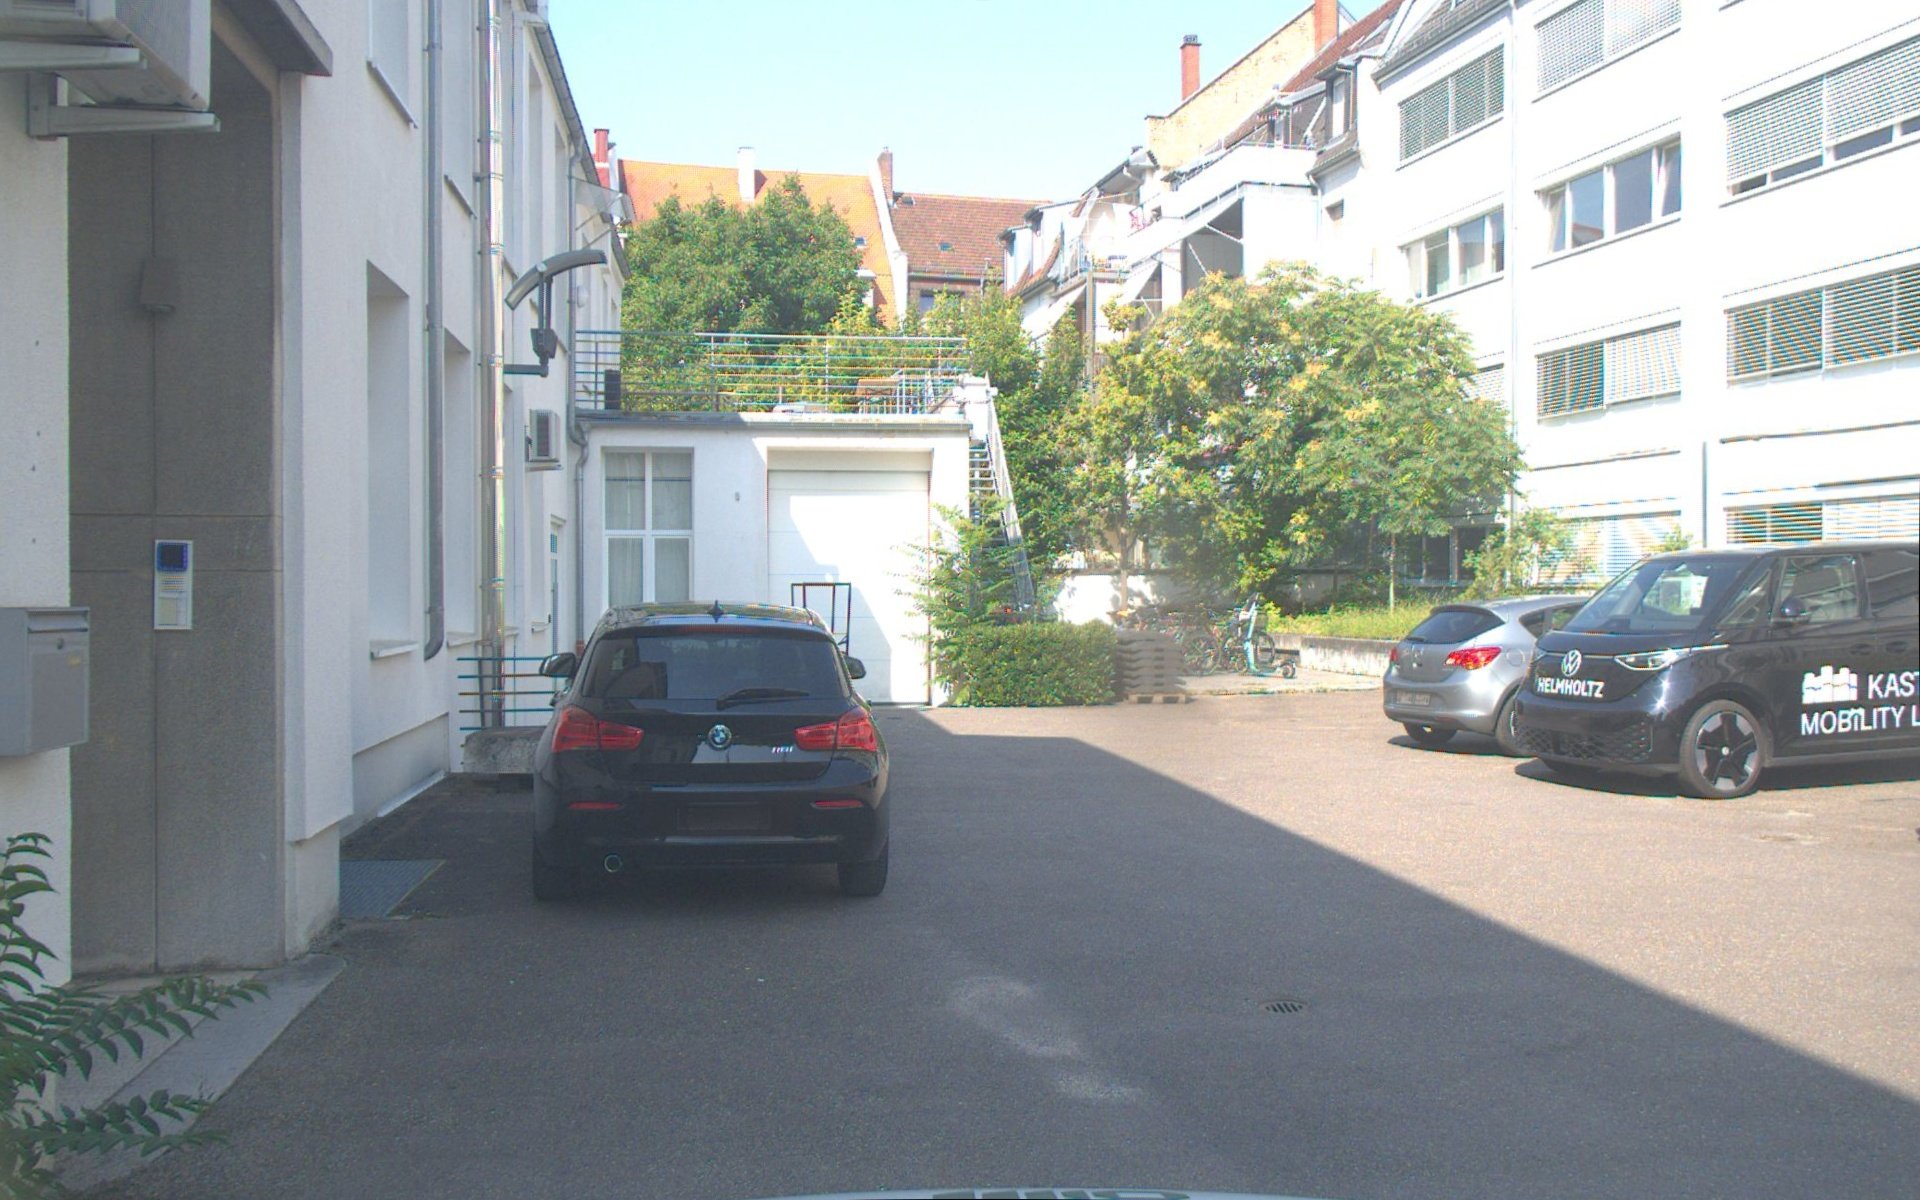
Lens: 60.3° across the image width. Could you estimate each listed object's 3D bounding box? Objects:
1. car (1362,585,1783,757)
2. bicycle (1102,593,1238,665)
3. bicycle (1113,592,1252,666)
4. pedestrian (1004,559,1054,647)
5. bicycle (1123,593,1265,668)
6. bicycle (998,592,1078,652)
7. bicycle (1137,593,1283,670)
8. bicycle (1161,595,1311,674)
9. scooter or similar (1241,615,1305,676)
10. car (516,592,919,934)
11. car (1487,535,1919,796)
[{"bbox_3d":[6.083,0.626,16.441,3.842,1.491,1.652,-1,1,-22],"label":"car"},{"bbox_3d":[3.775,0.517,29.719,2.366,1.268,0.525,0,0,-9],"label":"bicycle"},{"bbox_3d":[3.894,0.509,29.027,2.366,1.268,0.525,0,0,-9],"label":"bicycle"},{"bbox_3d":[1.436,0.057,34.534,0.846,1.802,0.607,1,0,43],"label":"pedestrian"},{"bbox_3d":[4.020,0.516,28.405,2.366,1.268,0.525,0,0,-9],"label":"bicycle"},{"bbox_3d":[1.636,0.438,34.316,0.481,1.163,1.981,0,2,43],"label":"bicycle"},{"bbox_3d":[4.169,0.525,27.630,2.366,1.268,0.525,0,0,-9],"label":"bicycle"},{"bbox_3d":[4.506,0.561,27.019,2.366,1.268,0.525,0,0,-9],"label":"bicycle"},{"bbox_3d":[5.048,0.731,26.725,0.982,0.940,0.358,1,0,45],"label":"scooter or similar"},{"bbox_3d":[-1.431,0.701,9.356,1.760,1.453,4.126,0,1,-11],"label":"car"},{"bbox_3d":[6.726,0.436,13.607,4.268,1.891,1.905,-1,1,-18],"label":"car"}]
